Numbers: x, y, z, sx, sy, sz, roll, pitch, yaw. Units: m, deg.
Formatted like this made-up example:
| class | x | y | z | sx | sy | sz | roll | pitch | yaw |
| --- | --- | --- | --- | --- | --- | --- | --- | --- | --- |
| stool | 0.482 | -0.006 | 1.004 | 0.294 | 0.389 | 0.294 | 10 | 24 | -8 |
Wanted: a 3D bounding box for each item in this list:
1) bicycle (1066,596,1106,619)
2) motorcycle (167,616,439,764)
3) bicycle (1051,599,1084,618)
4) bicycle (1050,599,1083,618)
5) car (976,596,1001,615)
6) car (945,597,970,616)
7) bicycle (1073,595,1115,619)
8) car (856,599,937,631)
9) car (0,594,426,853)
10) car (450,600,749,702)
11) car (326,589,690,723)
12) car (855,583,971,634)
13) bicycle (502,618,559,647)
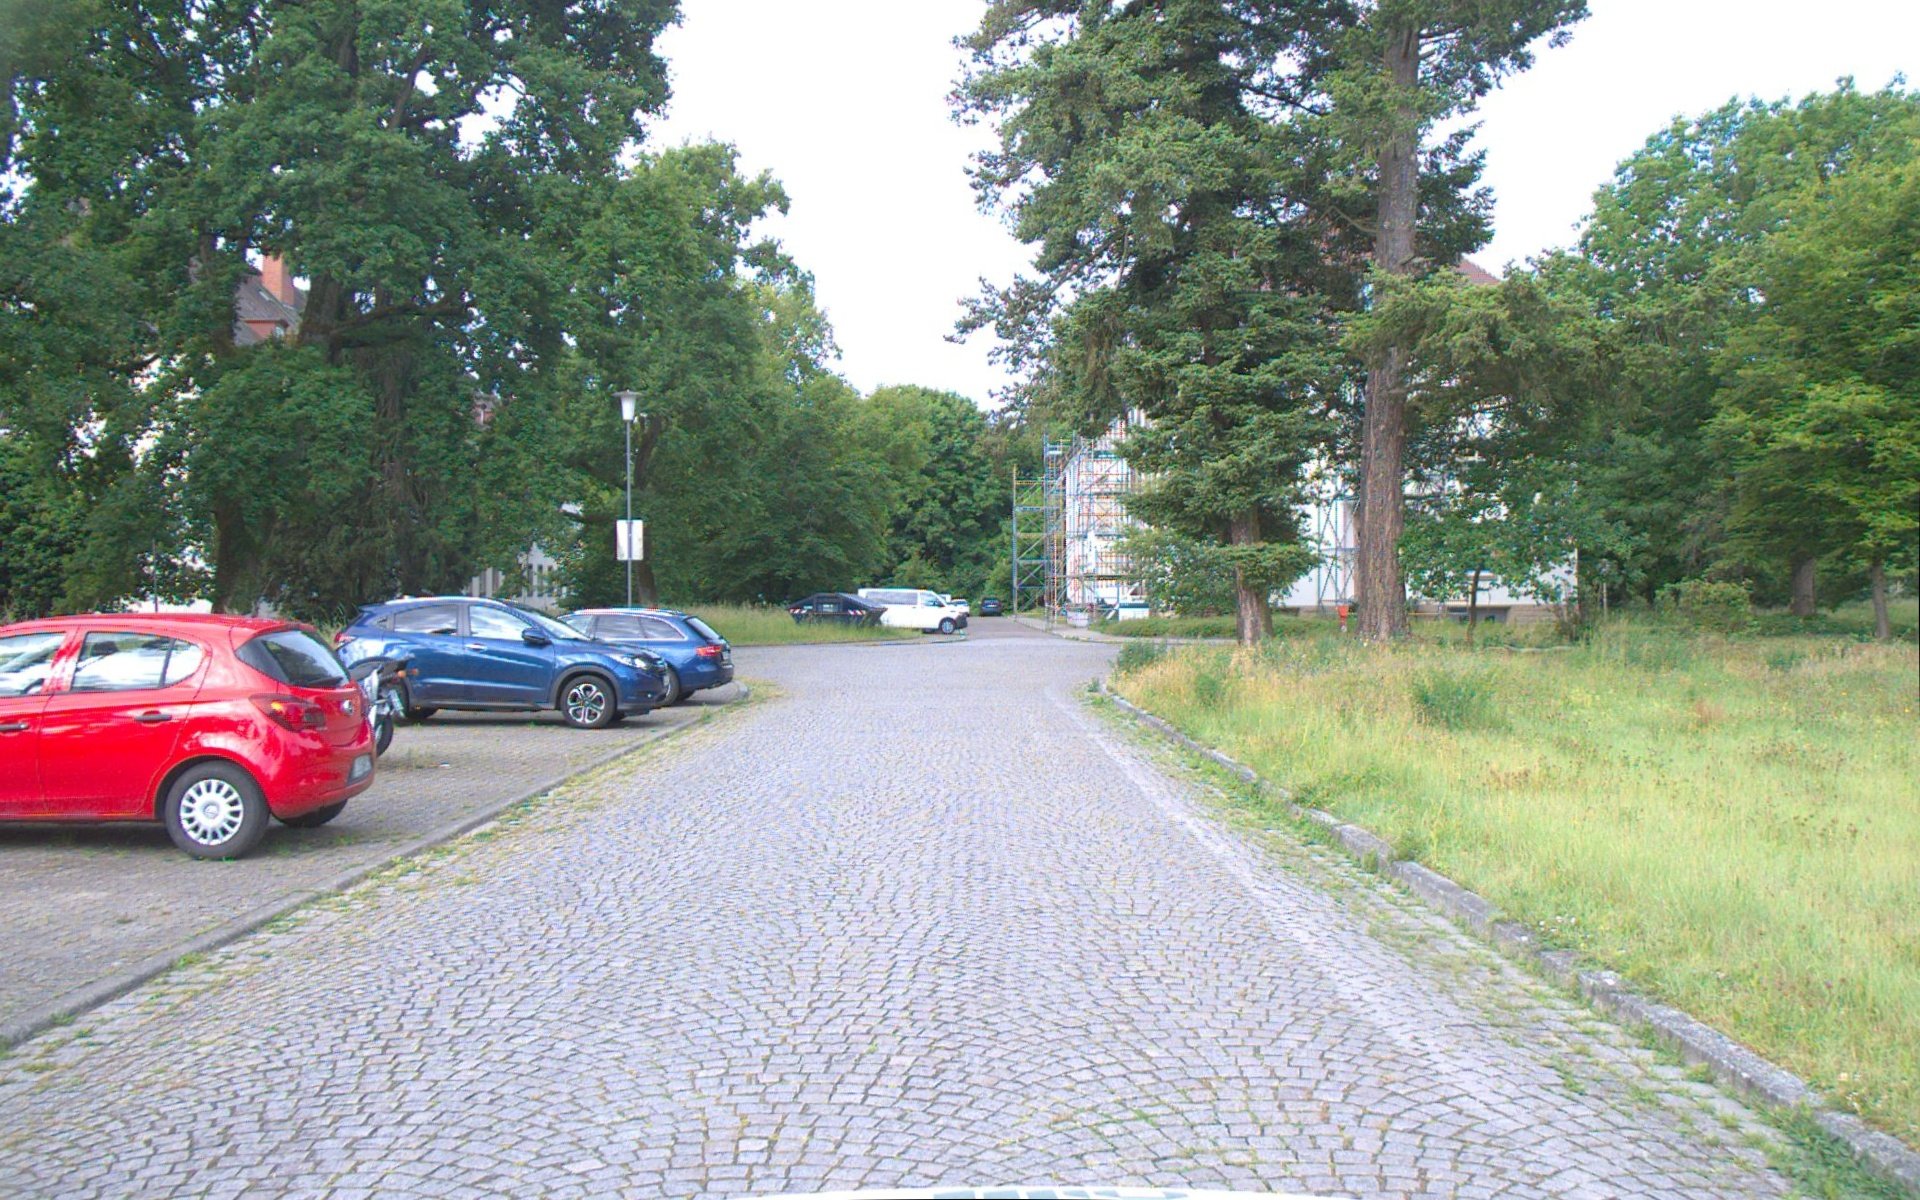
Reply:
| class | x | y | z | sx | sy | sz | roll | pitch | yaw |
| --- | --- | --- | --- | --- | --- | --- | --- | --- | --- |
| bicycle | 7.030 | 0.405 | 92.111 | 2.194 | 1.276 | 0.778 | -1 | 0 | 2 |
| motorcycle | -6.108 | 0.825 | 15.449 | 2.227 | 1.314 | 0.719 | 1 | 0 | 0 |
| bicycle | 7.238 | 0.565 | 111.364 | 2.194 | 1.276 | 0.627 | -1 | 0 | 2 |
| bicycle | 7.254 | 0.576 | 112.821 | 2.194 | 1.276 | 0.698 | -1 | 0 | 2 |
| car | 2.394 | 0.488 | 141.138 | 1.912 | 1.548 | 3.998 | 0 | 0 | -2 |
| car | -0.228 | 0.530 | 140.816 | 2.076 | 1.548 | 3.999 | 0 | 0 | -2 |
| bicycle | 7.108 | 0.367 | 87.856 | 2.194 | 1.276 | 0.778 | -1 | 0 | 2 |
| car | -2.990 | 0.699 | 77.386 | 3.713 | 1.420 | 1.999 | -1 | 0 | -3 |
| car | -5.841 | 0.756 | 10.976 | 3.973 | 1.552 | 1.904 | -1 | 0 | -2 |
| car | -5.567 | 0.768 | 25.948 | 4.214 | 1.486 | 1.975 | 1 | 0 | 1 |
| car | -5.686 | 0.683 | 21.218 | 4.143 | 1.604 | 1.886 | 1 | 0 | -2 |
| car | -2.133 | 0.372 | 74.804 | 5.130 | 2.206 | 1.999 | -1 | 0 | -3 |
| bicycle | -15.349 | 1.152 | 59.128 | 1.922 | 1.007 | 0.625 | -1 | 0 | -11 |
